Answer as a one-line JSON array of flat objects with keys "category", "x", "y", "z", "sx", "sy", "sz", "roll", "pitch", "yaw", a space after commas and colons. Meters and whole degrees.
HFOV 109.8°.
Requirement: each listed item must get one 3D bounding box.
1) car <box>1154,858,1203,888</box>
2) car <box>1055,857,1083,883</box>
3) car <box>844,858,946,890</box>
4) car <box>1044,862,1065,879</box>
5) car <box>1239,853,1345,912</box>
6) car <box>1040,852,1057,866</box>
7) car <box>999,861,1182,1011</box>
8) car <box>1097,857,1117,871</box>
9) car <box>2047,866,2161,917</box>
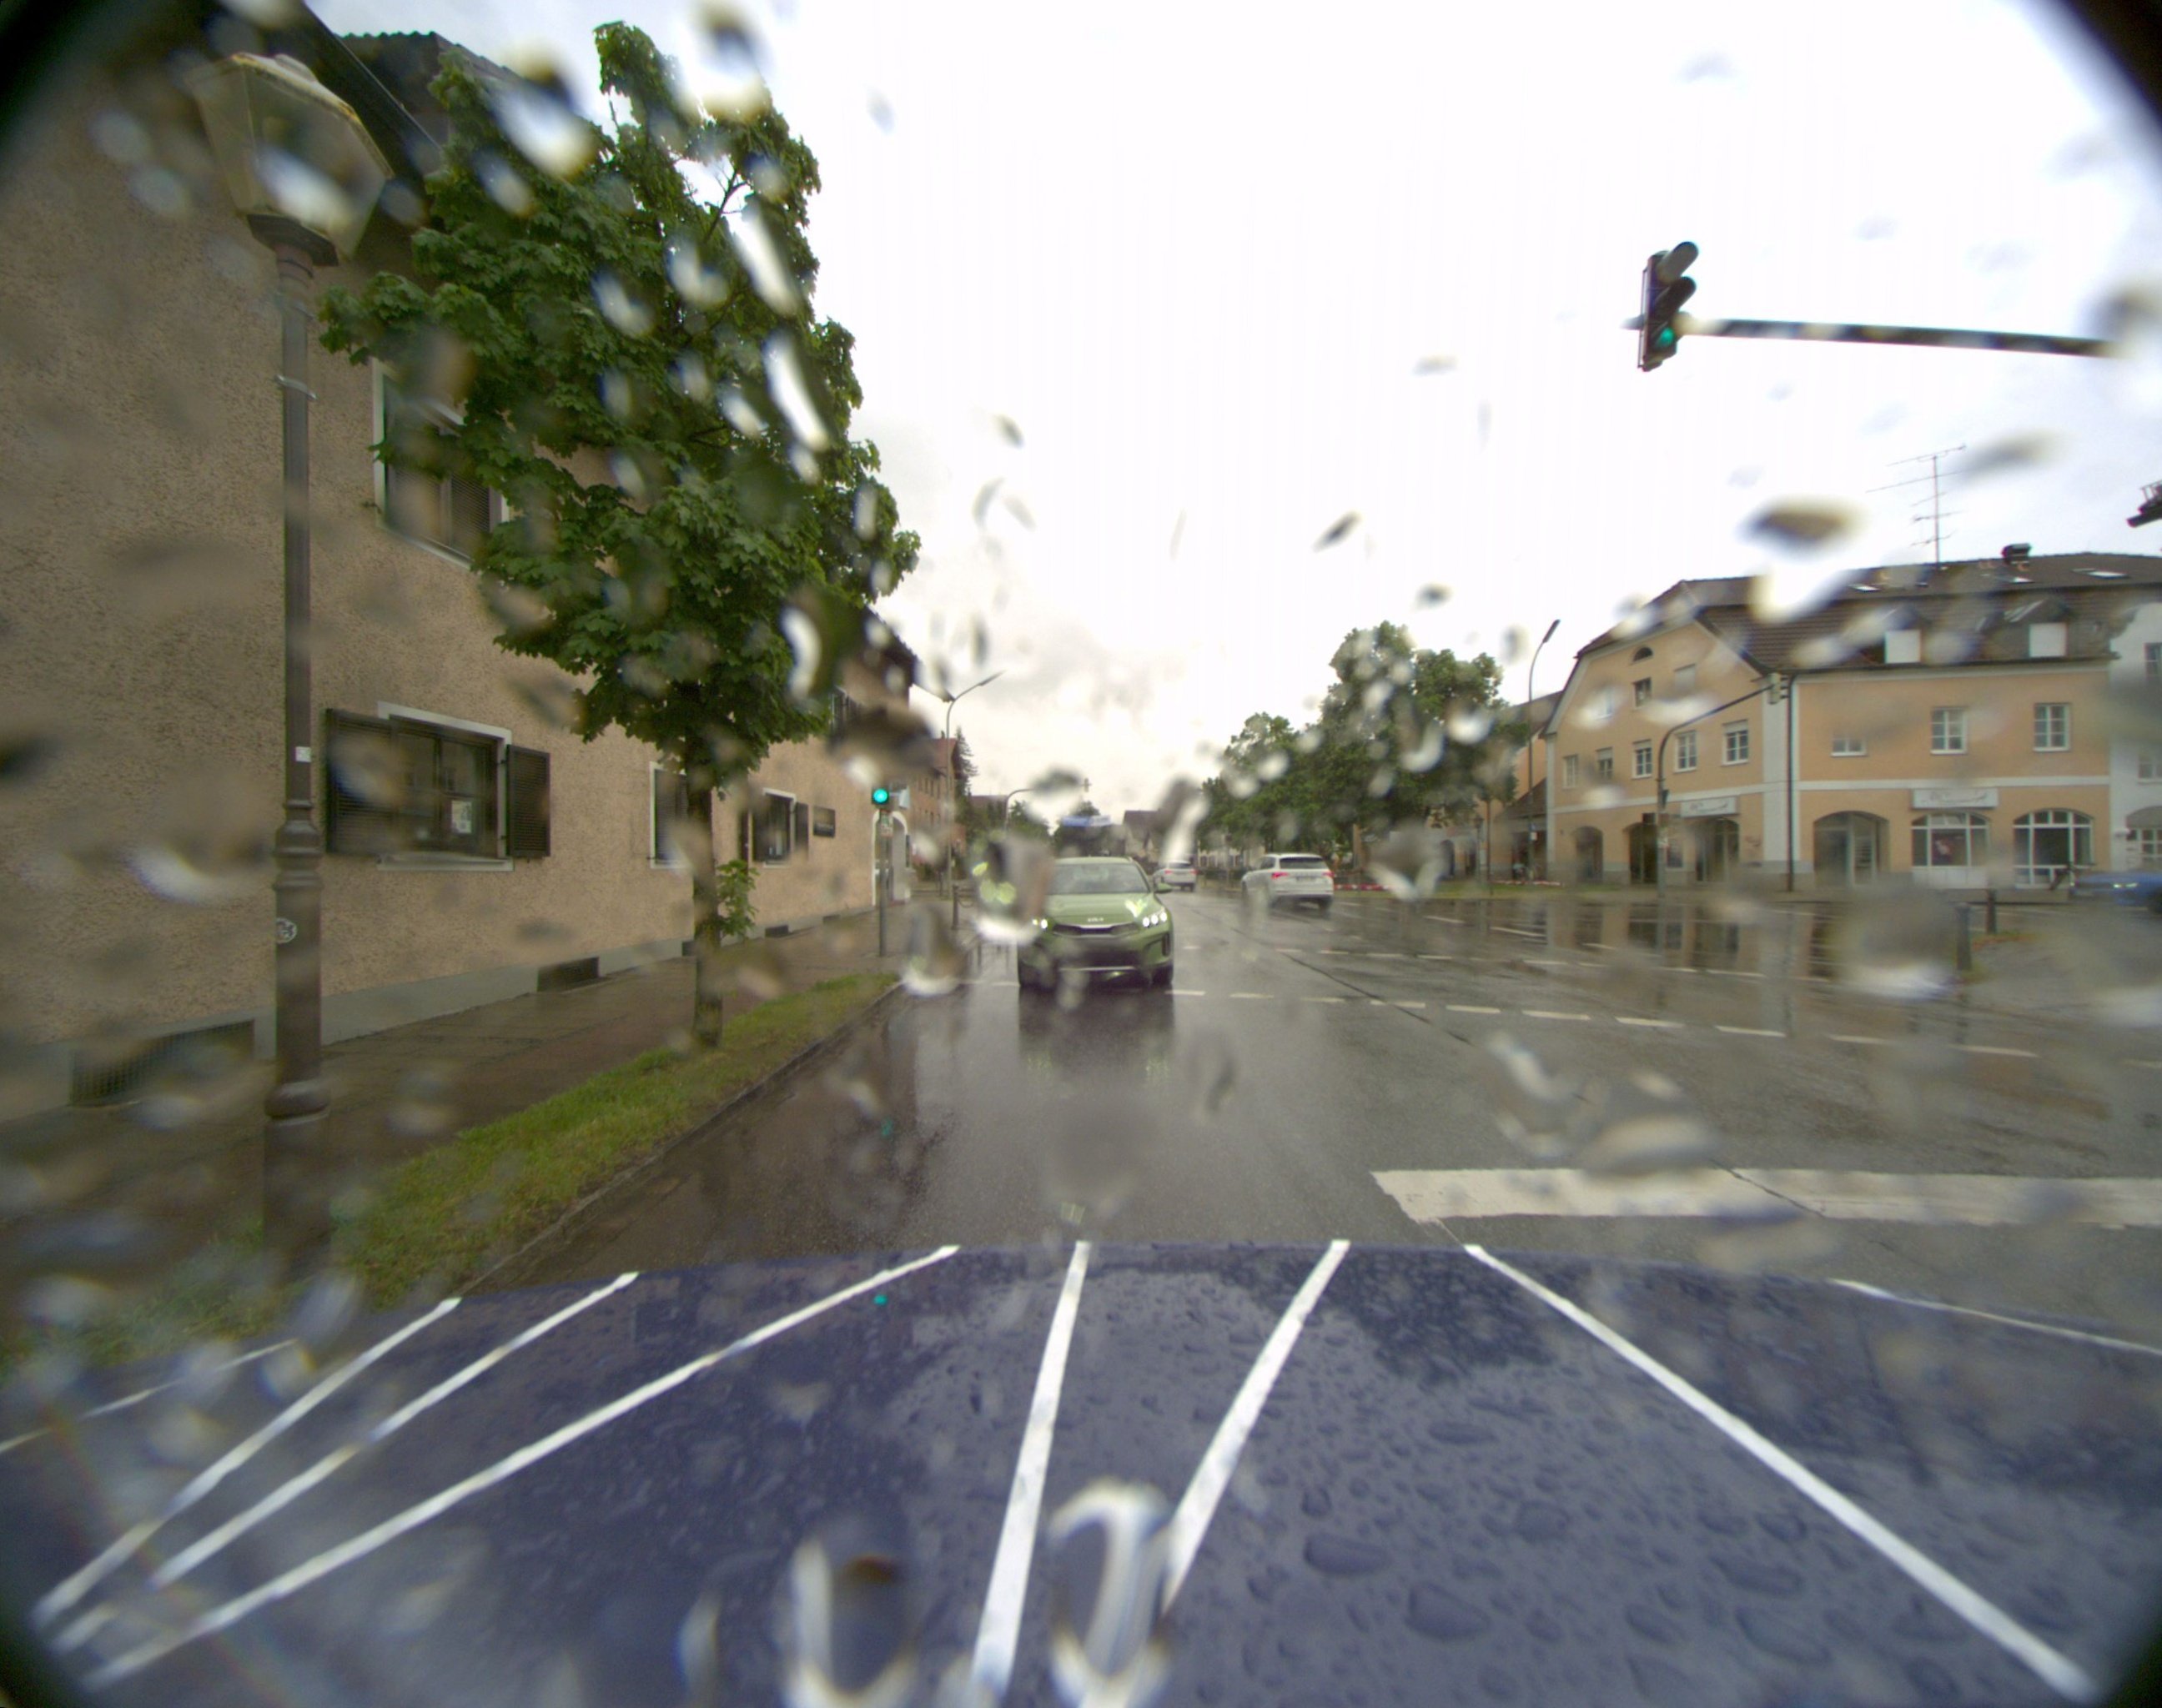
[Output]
[{"category": "car", "x": 5.328, "y": 1.024, "z": 42.044, "sx": 1.972, "sy": 1.553, "sz": 4.150, "roll": 0, "pitch": 0, "yaw": -3}, {"category": "car", "x": -0.691, "y": 0.937, "z": 47.060, "sx": 1.637, "sy": 1.508, "sz": 4.000, "roll": 1, "pitch": 0, "yaw": 1}, {"category": "car", "x": -9.027, "y": 0.945, "z": 37.094, "sx": 4.609, "sy": 1.489, "sz": 1.736, "roll": 0, "pitch": 0, "yaw": -5}, {"category": "car", "x": -2.481, "y": 1.568, "z": 72.488, "sx": 1.839, "sy": 1.508, "sz": 4.669, "roll": 1, "pitch": 0, "yaw": 1}, {"category": "car", "x": 6.037, "y": 0.745, "z": 22.263, "sx": 1.932, "sy": 1.557, "sz": 4.125, "roll": 0, "pitch": 0, "yaw": -1}, {"category": "car", "x": -4.762, "y": 0.748, "z": 110.275, "sx": 2.218, "sy": 1.977, "sz": 4.952, "roll": 1, "pitch": 0, "yaw": -5}, {"category": "car", "x": 0.130, "y": 0.878, "z": 9.995, "sx": 1.872, "sy": 1.504, "sz": 4.105, "roll": -2, "pitch": 0, "yaw": 1}, {"category": "car", "x": 2.902, "y": 1.083, "z": 83.964, "sx": 1.921, "sy": 1.524, "sz": 3.898, "roll": 0, "pitch": 0, "yaw": -2}, {"category": "car", "x": 27.221, "y": 0.908, "z": 18.552, "sx": 4.352, "sy": 1.178, "sz": 1.691, "roll": 0, "pitch": 0, "yaw": 15}]
